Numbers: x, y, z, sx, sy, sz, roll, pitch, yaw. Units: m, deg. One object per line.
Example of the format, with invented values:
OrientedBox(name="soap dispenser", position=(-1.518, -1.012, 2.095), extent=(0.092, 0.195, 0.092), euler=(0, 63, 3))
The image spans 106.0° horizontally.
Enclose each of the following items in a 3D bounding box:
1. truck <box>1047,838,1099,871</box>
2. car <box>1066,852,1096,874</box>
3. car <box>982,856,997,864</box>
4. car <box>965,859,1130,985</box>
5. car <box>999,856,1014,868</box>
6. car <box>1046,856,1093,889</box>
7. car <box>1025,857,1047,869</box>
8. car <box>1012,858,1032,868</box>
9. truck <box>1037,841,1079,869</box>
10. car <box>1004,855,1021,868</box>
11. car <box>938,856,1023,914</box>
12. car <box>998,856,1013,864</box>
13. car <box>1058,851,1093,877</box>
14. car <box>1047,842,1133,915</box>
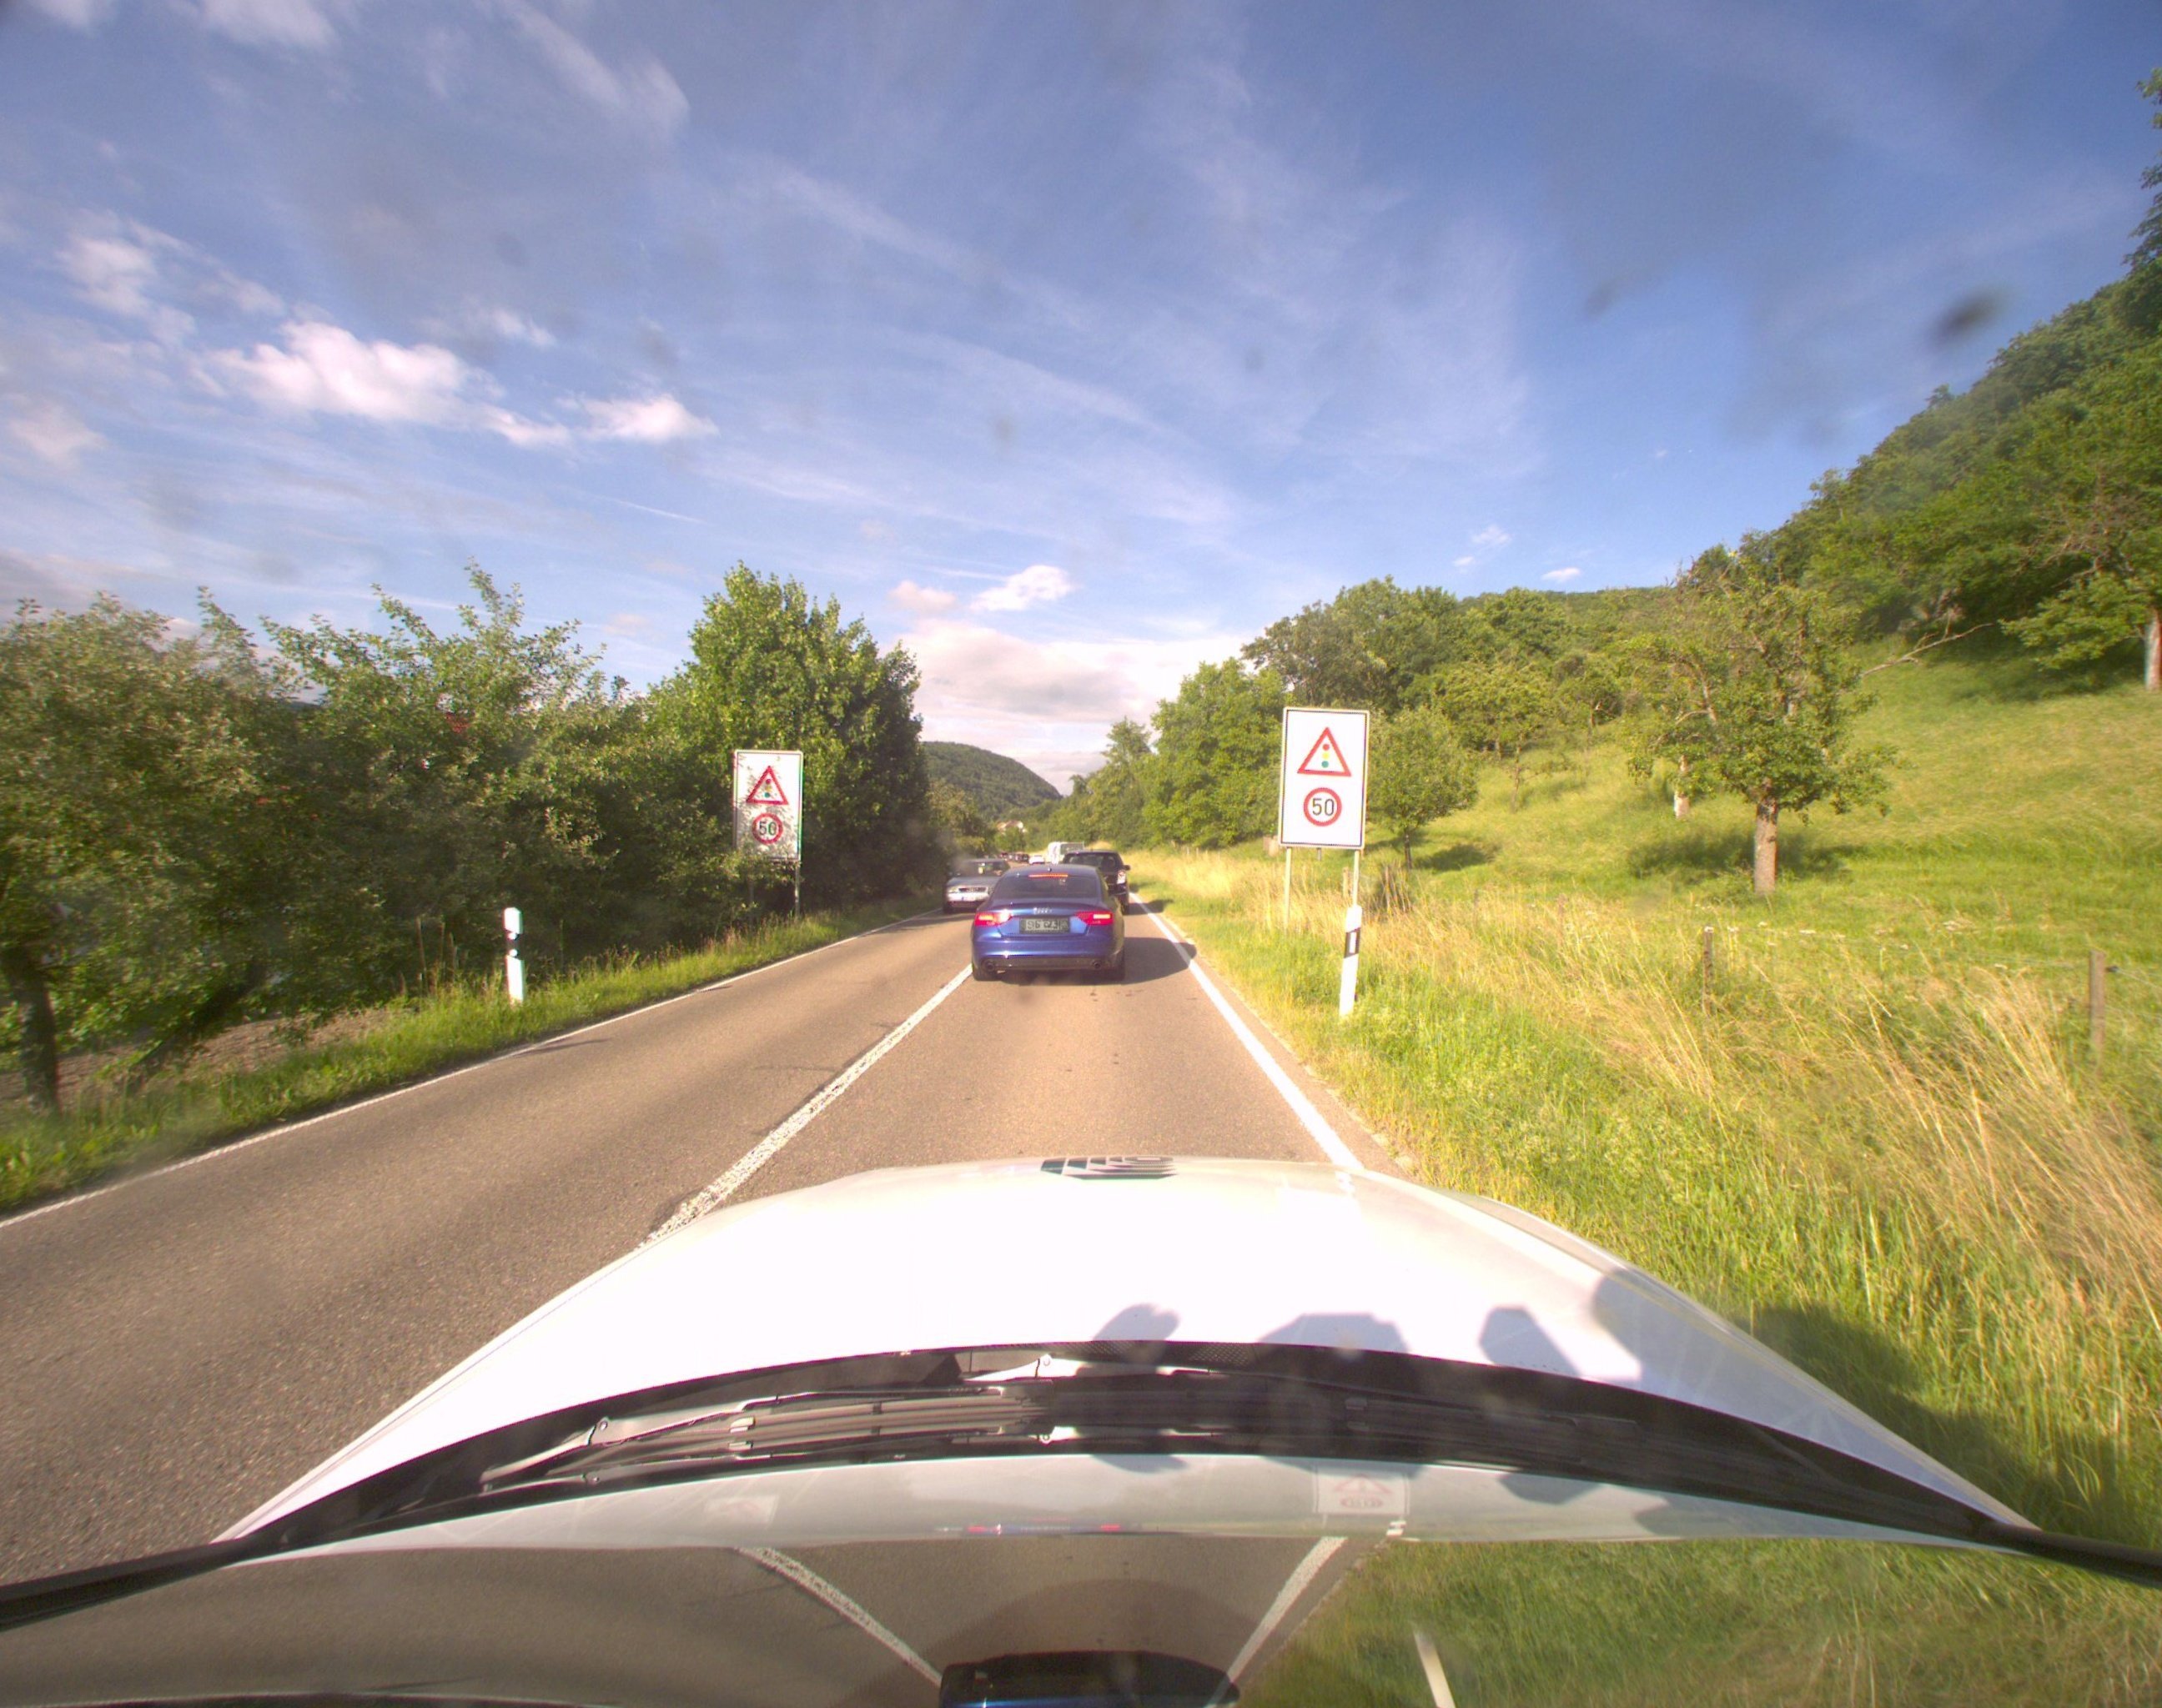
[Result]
OrientedBox(name="truck", position=(-0.859, 0.063, 70.355), extent=(2.864, 2.665, 10.357), euler=(0, 0, -10))
OrientedBox(name="car", position=(0.009, 0.624, 56.307), extent=(1.987, 1.482, 4.000), euler=(0, -1, 1))
OrientedBox(name="car", position=(-18.030, 1.207, 160.515), extent=(2.001, 1.482, 3.971), euler=(0, -1, -22))
OrientedBox(name="car", position=(-0.305, 0.754, 10.846), extent=(1.787, 1.360, 4.001), euler=(0, 0, 2))
OrientedBox(name="car", position=(-12.841, 1.450, 140.898), extent=(1.996, 2.014, 3.981), euler=(0, -1, -14))
OrientedBox(name="car", position=(-0.447, 0.810, 36.318), extent=(1.987, 1.387, 4.000), euler=(0, -1, 1))
OrientedBox(name="car", position=(-6.042, 1.195, 109.118), extent=(2.000, 1.482, 3.973), euler=(0, -1, -20))
OrientedBox(name="car", position=(-8.784, 1.288, 120.801), extent=(2.000, 1.482, 3.973), euler=(0, -1, -20))
OrientedBox(name="truck", position=(-2.483, 0.129, 83.081), extent=(2.864, 2.665, 10.608), euler=(0, 0, -10))
OrientedBox(name="car", position=(-11.012, 1.139, 130.678), extent=(1.997, 2.014, 3.979), euler=(0, -1, -15))
OrientedBox(name="car", position=(-2.638, 0.787, 22.192), extent=(1.685, 1.409, 3.665), euler=(-1, 0, 2))
OrientedBox(name="car", position=(-13.683, 1.061, 147.001), extent=(1.997, 1.482, 3.979), euler=(0, -1, -16))
OrientedBox(name="car", position=(-0.277, 0.590, 48.863), extent=(1.987, 1.482, 4.000), euler=(0, -1, 1))
OrientedBox(name="car", position=(0.241, 0.588, 21.017), extent=(1.987, 1.702, 4.000), euler=(0, -1, 1))
